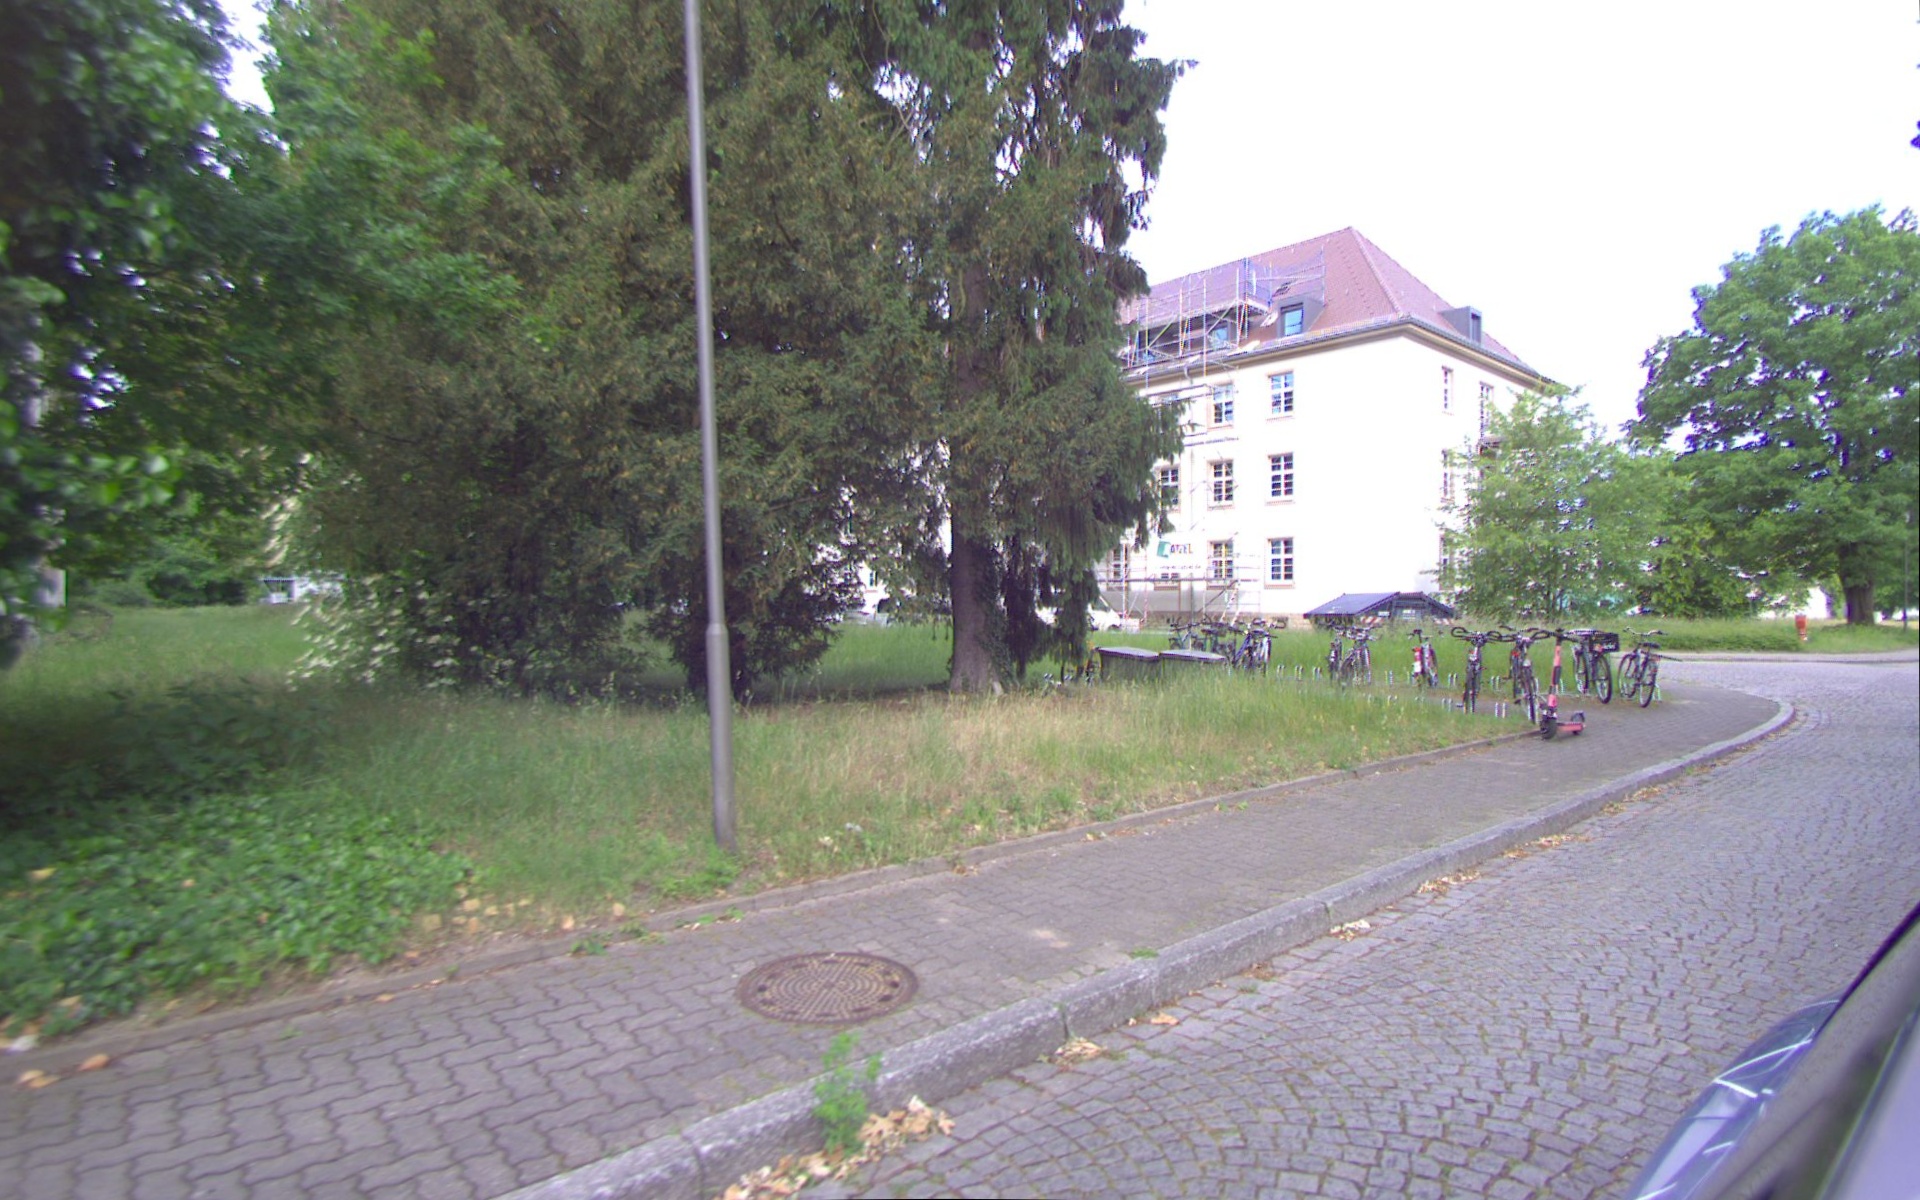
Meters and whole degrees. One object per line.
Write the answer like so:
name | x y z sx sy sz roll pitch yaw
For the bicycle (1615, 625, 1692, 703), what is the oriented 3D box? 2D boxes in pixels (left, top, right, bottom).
bicycle | 10.288 0.925 15.065 0.471 1.020 1.614 -1 1 17

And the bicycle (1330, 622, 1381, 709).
bicycle | 5.485 0.862 13.995 0.611 1.078 1.811 -1 0 23

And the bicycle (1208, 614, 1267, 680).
bicycle | 5.074 0.827 18.433 0.440 1.126 1.629 -1 -1 38

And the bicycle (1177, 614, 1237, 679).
bicycle | 4.558 0.830 18.629 0.440 1.126 1.629 -1 -1 38

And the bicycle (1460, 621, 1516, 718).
bicycle | 6.810 0.854 13.019 0.547 1.128 1.785 -1 -1 30

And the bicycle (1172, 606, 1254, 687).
bicycle | 3.994 0.698 15.910 0.549 1.186 1.728 -1 -1 40

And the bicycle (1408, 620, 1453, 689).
bicycle | 7.848 0.885 16.856 0.474 1.020 1.649 -1 1 32

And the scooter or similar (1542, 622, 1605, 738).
scooter or similar | 6.901 0.870 11.367 0.356 1.225 1.119 -1 -1 44

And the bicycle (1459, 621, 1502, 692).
bicycle | 8.413 0.878 16.327 0.474 1.020 1.649 -1 1 32

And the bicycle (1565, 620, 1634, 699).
bicycle | 9.845 0.892 15.619 0.471 1.087 1.614 -1 1 17

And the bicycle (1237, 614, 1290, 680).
bicycle | 5.502 0.819 18.286 0.474 1.126 1.745 -1 -1 32

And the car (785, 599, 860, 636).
car | -6.351 0.780 46.915 3.193 1.682 1.437 0 0 -42

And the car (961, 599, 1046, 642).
car | 1.663 0.723 37.962 3.193 1.546 1.309 0 0 -42

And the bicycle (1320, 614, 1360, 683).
bicycle | 6.624 0.810 17.627 0.473 1.126 1.749 -1 -1 26

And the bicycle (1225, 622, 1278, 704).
bicycle | 4.244 0.871 14.675 0.545 1.078 1.740 -1 0 23

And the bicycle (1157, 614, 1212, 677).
bicycle | 4.274 0.831 19.179 0.474 1.126 1.745 -1 -1 32

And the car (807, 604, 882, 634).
car | -5.117 0.822 44.975 3.193 1.233 1.294 0 0 -42

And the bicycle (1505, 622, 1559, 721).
bicycle | 7.255 0.863 12.812 0.547 1.128 1.750 -1 -1 30

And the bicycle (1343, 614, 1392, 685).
bicycle | 6.942 0.804 17.195 0.474 1.126 1.745 -1 -1 32

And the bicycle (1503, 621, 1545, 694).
bicycle | 8.893 0.872 15.936 0.474 1.020 1.649 -1 1 32

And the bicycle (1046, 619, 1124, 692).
bicycle | 2.003 0.850 16.064 0.548 1.055 1.662 -1 -1 34

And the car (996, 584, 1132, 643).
car | 3.822 0.453 36.598 5.186 2.022 1.965 0 0 -42

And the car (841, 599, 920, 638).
car | -3.370 0.774 43.170 3.193 1.585 1.328 0 0 -42
